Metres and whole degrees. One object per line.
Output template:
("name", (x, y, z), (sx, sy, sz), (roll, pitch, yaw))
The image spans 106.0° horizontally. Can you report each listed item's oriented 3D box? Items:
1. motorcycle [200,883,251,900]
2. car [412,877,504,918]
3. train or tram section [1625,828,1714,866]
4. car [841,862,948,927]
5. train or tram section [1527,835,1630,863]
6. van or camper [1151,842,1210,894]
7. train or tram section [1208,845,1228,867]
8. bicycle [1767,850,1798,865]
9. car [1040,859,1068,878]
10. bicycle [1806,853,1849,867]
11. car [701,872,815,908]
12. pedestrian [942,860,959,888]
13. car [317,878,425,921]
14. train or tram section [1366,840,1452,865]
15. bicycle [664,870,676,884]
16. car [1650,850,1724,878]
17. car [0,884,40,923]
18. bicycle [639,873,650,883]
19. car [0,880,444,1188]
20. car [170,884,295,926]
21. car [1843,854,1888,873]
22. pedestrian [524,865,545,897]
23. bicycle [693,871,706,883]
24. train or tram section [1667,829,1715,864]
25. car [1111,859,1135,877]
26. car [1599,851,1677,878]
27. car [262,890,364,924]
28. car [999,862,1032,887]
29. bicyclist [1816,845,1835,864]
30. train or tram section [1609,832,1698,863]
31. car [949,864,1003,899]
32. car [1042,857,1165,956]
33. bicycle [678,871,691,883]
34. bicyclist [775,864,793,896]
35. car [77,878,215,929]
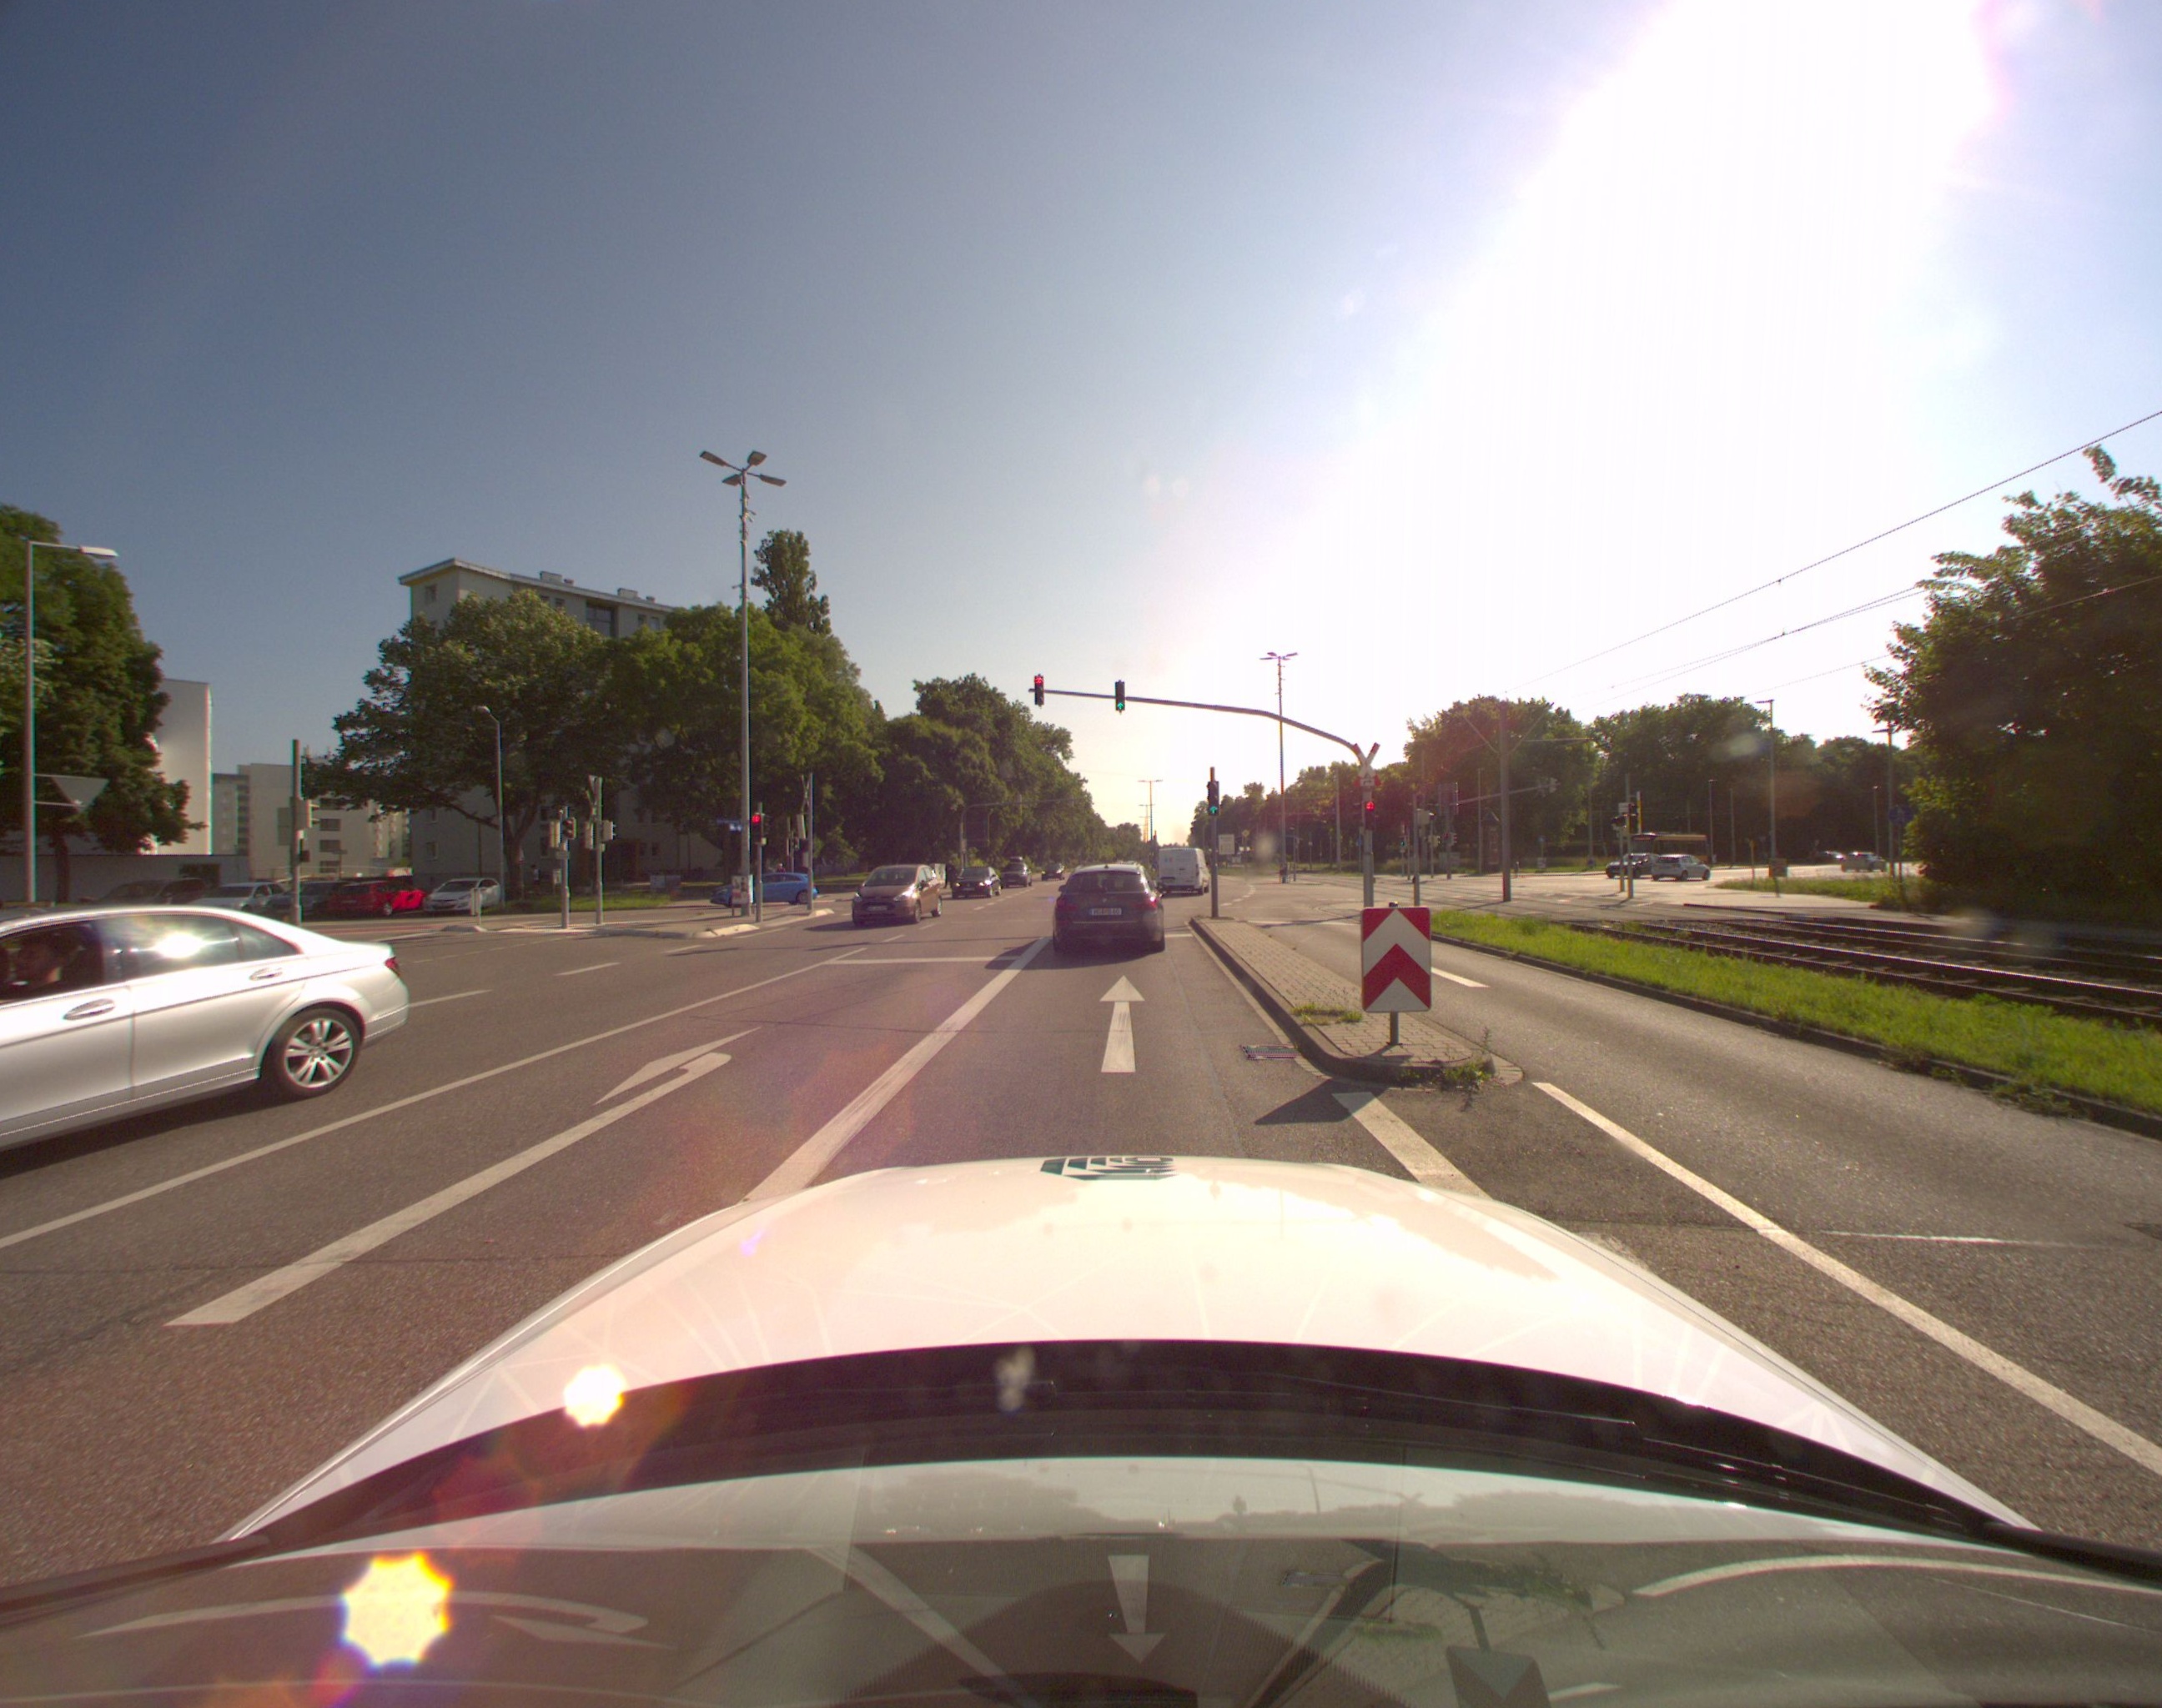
("motorcycle", (-51.750, 2.265, 49.275), (0.520, 0.965, 2.057), (-1, 0, 36))
("car", (-27.512, 1.872, 36.132), (1.782, 1.439, 3.981), (-1, 3, -15))
("train or tram section", (58.717, -0.706, 81.097), (11.896, 3.579, 3.022), (-1, -1, -33))
("car", (-5.046, 1.033, 22.589), (1.738, 1.562, 4.003), (-3, -1, 3))
("train or tram section", (68.650, -0.581, 112.774), (3.064, 3.579, 12.110), (0, -1, -31))
("van or camper", (4.417, 0.601, 35.544), (1.979, 2.096, 4.615), (-1, -1, 14))
("train or tram section", (23.845, 0.493, 142.363), (2.782, 3.618, 12.978), (0, -1, 7))
("bicycle", (82.449, 0.399, 95.737), (0.798, 1.713, 2.586), (0, 0, -33))
("car", (-2.485, 1.360, 76.201), (1.979, 1.659, 4.393), (-2, -1, 7))
("bicycle", (79.808, 0.618, 87.099), (1.131, 1.454, 3.207), (0, -1, -20))
("car", (-13.764, 1.495, 34.780), (4.262, 1.415, 1.766), (0, -1, -35))
("pedestrian", (-8.226, 1.278, 51.338), (0.811, 1.752, 0.933), (-1, -1, 8))
("car", (-30.494, 1.912, 35.124), (1.781, 1.415, 3.983), (-1, 3, -13))
("train or tram section", (51.911, -0.206, 129.269), (12.278, 3.580, 3.073), (-1, -1, 34))
("bicycle", (-31.987, 1.799, 63.379), (0.615, 1.066, 1.897), (1, -3, -34))
("car", (37.049, 0.599, 49.795), (4.211, 1.563, 1.840), (-1, -1, -26))
("car", (-44.065, 2.084, 31.814), (1.784, 1.477, 4.785), (-1, 2, -18))
("bicycle", (-33.622, 1.843, 62.709), (0.587, 0.708, 2.216), (0, 0, -32))
("car", (-6.237, 0.971, 4.542), (1.695, 1.465, 4.373), (-3, 0, 3))
("car", (-35.090, 2.070, 33.834), (1.783, 1.521, 3.978), (-1, -1, -16))
("car", (59.608, 0.683, 61.877), (3.542, 1.384, 1.590), (0, -1, -32))
("pedestrian", (-29.998, 1.482, 44.738), (0.619, 1.713, 0.707), (-1, -1, 15))
("bicycle", (-30.317, 1.809, 64.661), (0.673, 0.919, 2.382), (-1, 0, -32))
("train or tram section", (67.129, -0.736, 89.801), (3.015, 3.579, 12.307), (-1, -1, 31))
("car", (3.629, 1.194, 69.340), (1.821, 1.431, 4.737), (-2, -1, 4))
("car", (36.436, 0.685, 53.231), (4.871, 1.563, 2.027), (-2, 0, -26))
("car", (-32.442, 2.210, 34.533), (1.463, 1.193, 3.768), (-1, -1, -14))
("car", (-4.248, 1.318, 53.338), (1.782, 1.520, 4.000), (-2, -1, 1))
("bicyclist", (79.743, 0.035, 87.249), (1.140, 2.014, 1.091), (0, -1, -20))
("train or tram section", (70.829, -0.762, 101.237), (3.031, 3.579, 12.242), (-1, 0, 4))
("car", (-4.798, 1.222, 37.757), (1.882, 1.474, 4.100), (-2, -1, 1))
("car", (0.529, 0.832, 14.688), (1.894, 1.506, 4.070), (-1, -1, 5))
("bicycle", (-31.236, 1.819, 64.084), (0.678, 0.875, 2.460), (-1, 0, -32))
("bicyclist", (-14.963, 1.307, 41.022), (0.604, 1.560, 0.604), (-1, -1, 9))
("car", (-37.744, 1.943, 33.035), (1.783, 1.811, 3.978), (-1, -1, -16))
